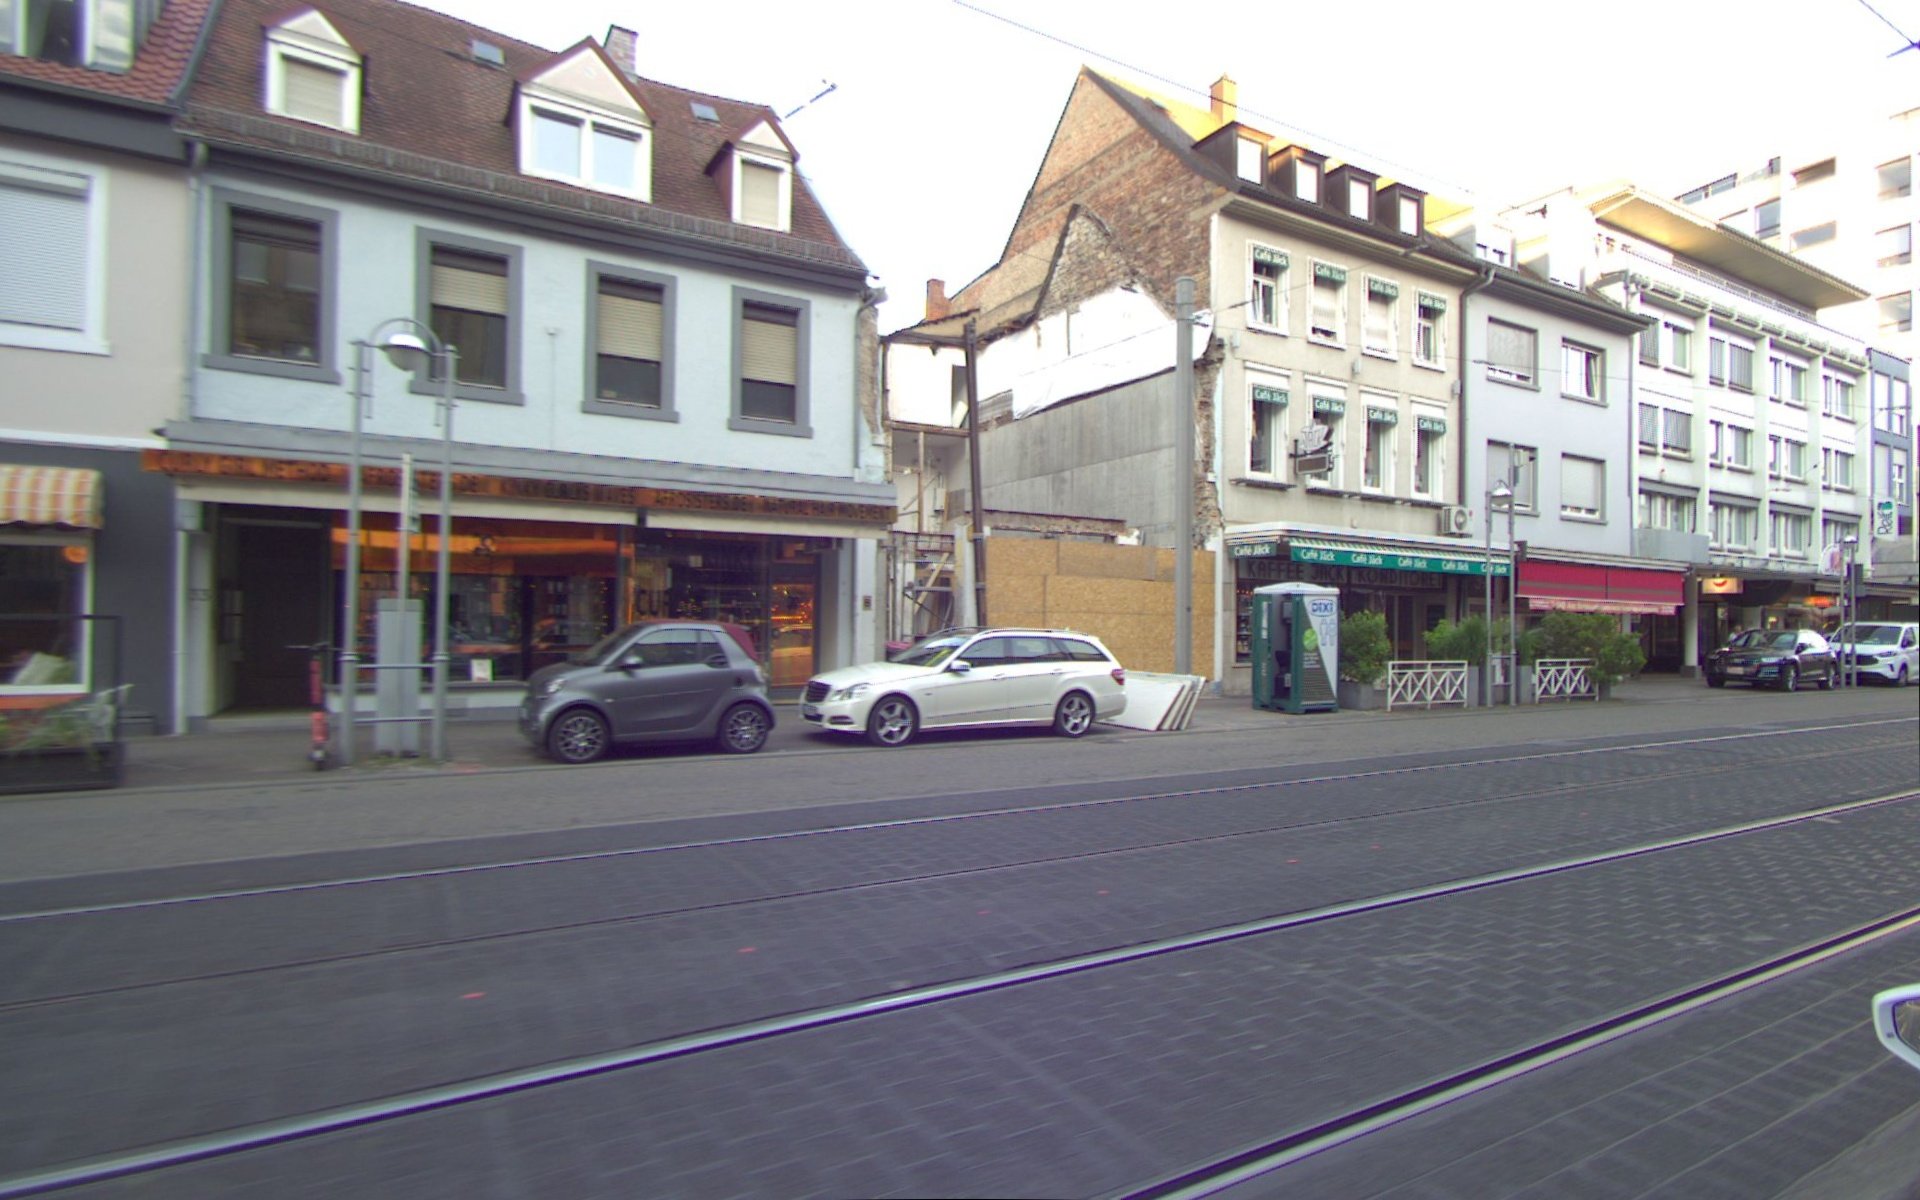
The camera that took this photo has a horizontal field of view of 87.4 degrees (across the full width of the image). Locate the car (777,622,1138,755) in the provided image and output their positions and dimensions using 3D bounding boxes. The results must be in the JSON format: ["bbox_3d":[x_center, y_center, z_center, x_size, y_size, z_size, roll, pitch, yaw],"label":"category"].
[{"bbox_3d":[0.042,1.139,14.101,4.785,1.524,1.840,2,1,-30],"label":"car"}]

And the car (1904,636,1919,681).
[{"bbox_3d":[35.579,2.110,35.621,4.577,1.541,1.907,2,1,-31],"label":"car"}]

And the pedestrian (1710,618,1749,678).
[{"bbox_3d":[24.272,1.508,31.680,0.827,1.844,0.645,1,1,-30],"label":"pedestrian"}]

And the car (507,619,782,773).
[{"bbox_3d":[-3.701,1.040,11.804,2.780,1.524,1.583,2,1,-31],"label":"car"}]

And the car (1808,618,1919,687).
[{"bbox_3d":[29.183,1.644,31.903,4.785,1.961,1.908,2,1,-30],"label":"car"}]

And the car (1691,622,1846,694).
[{"bbox_3d":[22.585,1.584,28.028,4.378,1.786,1.908,2,1,-30],"label":"car"}]

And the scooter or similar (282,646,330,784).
[{"bbox_3d":[-6.602,1.119,10.161,0.290,1.221,1.308,1,1,-29],"label":"scooter or similar"}]
